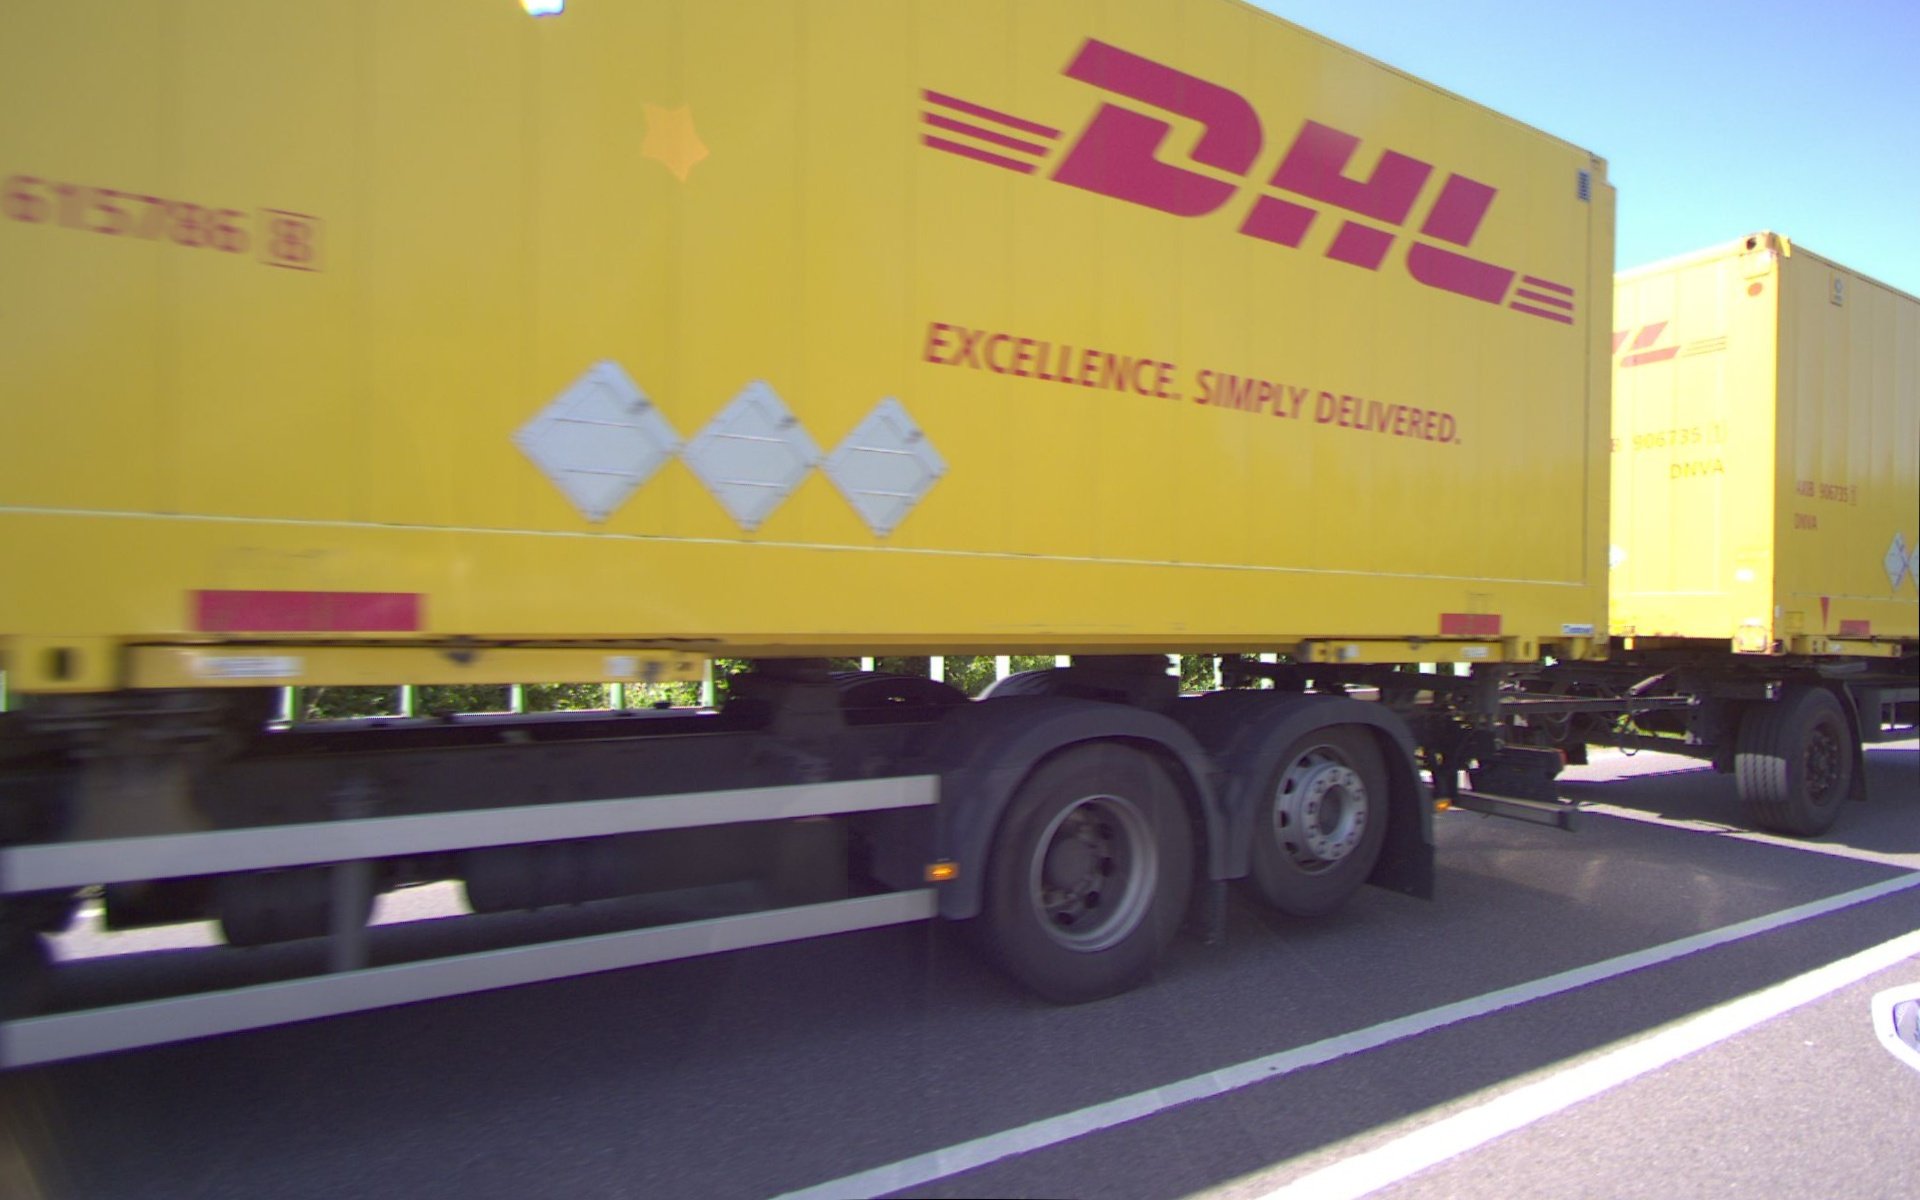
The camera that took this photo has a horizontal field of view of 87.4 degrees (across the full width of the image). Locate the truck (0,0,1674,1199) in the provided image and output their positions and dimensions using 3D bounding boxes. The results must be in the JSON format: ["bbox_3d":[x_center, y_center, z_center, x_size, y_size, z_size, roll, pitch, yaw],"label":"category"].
[{"bbox_3d":[-1.108,-0.601,4.193,10.478,4.183,2.536,1,-1,-30],"label":"truck"}]

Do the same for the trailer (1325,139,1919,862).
[{"bbox_3d":[7.505,-0.480,9.224,9.119,4.200,2.536,1,-1,-30],"label":"trailer"}]
